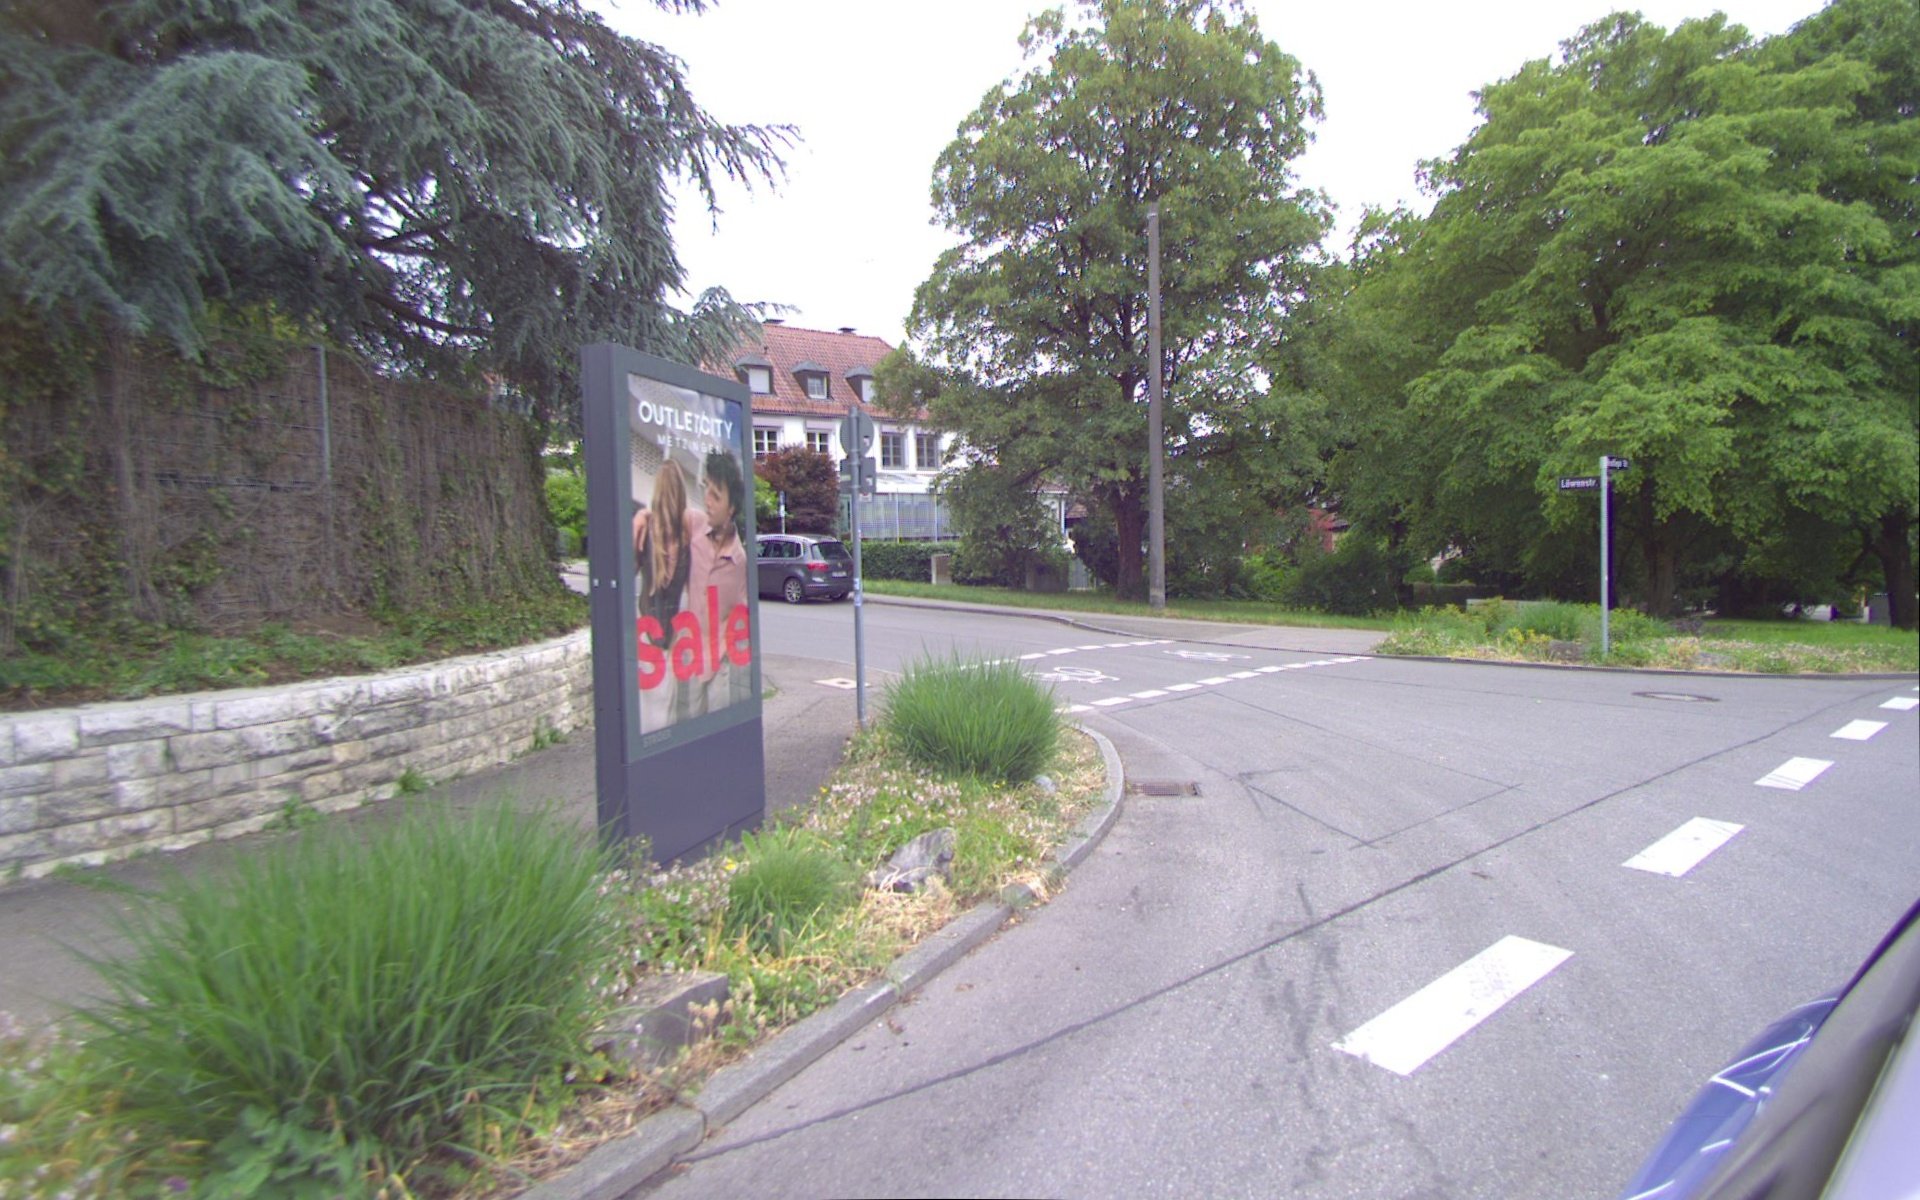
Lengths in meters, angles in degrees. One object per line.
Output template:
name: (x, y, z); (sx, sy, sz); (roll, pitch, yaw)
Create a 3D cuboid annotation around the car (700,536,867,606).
car: (-4.364, -0.771, 24.822); (3.977, 1.555, 1.800); (3, 5, 37)
